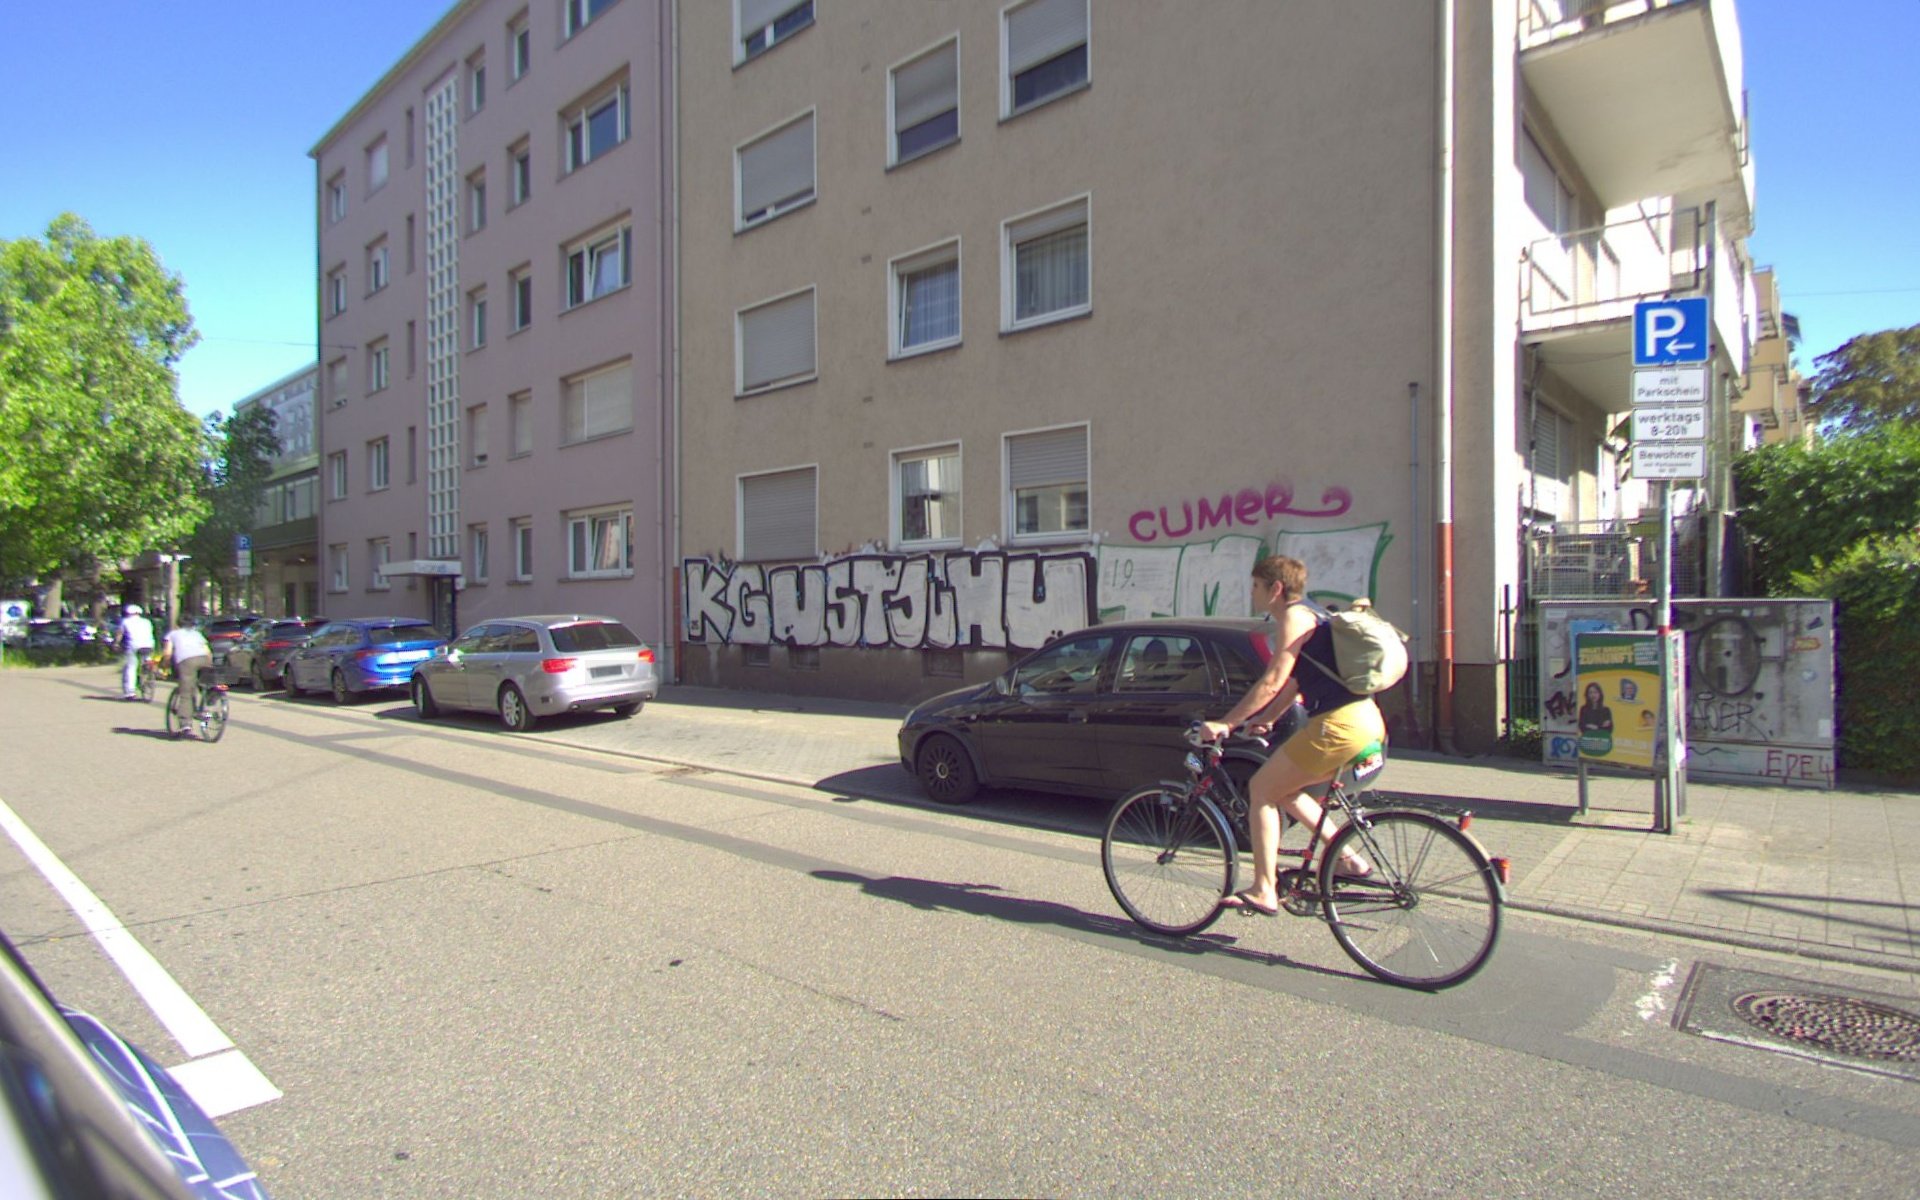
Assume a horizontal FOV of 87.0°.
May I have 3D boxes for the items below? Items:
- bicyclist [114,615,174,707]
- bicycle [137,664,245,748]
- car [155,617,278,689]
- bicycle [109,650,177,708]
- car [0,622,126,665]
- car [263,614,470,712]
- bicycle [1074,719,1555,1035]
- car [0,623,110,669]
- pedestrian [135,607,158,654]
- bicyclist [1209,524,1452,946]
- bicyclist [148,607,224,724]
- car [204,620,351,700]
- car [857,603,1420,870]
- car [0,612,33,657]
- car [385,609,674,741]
[{"bbox_3d":[-14.975,1.107,18.564,0.898,1.643,0.672,-2,-3,41],"label":"bicyclist"},{"bbox_3d":[-9.507,1.279,12.489,1.822,0.909,0.538,-1,-1,35],"label":"bicycle"},{"bbox_3d":[-18.799,1.286,25.520,4.157,1.588,1.704,-1,1,43],"label":"car"},{"bbox_3d":[-14.999,1.419,18.561,1.933,0.959,0.672,-1,-2,42],"label":"bicycle"},{"bbox_3d":[-35.397,1.670,39.688,1.913,1.564,3.943,-2,-1,43],"label":"car"},{"bbox_3d":[-11.101,1.087,18.779,4.798,1.514,1.805,-1,1,40],"label":"car"},{"bbox_3d":[1.389,1.034,4.242,1.825,0.909,0.537,-2,-1,42],"label":"bicycle"},{"bbox_3d":[-33.574,1.648,36.784,1.913,1.564,3.943,-2,-1,43],"label":"car"},{"bbox_3d":[-31.453,1.170,39.112,0.502,1.820,0.615,-2,-1,42],"label":"pedestrian"},{"bbox_3d":[1.507,0.495,4.138,0.774,1.532,0.537,-2,-1,41],"label":"bicyclist"},{"bbox_3d":[-9.620,0.792,12.573,0.786,1.402,0.538,-1,-1,34],"label":"bicyclist"},{"bbox_3d":[-14.855,1.230,21.937,4.157,1.478,1.704,-1,1,43],"label":"car"},{"bbox_3d":[1.186,0.821,7.662,3.853,1.459,1.674,-1,1,40],"label":"car"},{"bbox_3d":[-44.585,1.582,45.772,1.913,2.058,3.824,-2,-1,43],"label":"car"},{"bbox_3d":[-6.267,0.954,14.447,4.798,1.514,1.805,-1,1,40],"label":"car"}]
